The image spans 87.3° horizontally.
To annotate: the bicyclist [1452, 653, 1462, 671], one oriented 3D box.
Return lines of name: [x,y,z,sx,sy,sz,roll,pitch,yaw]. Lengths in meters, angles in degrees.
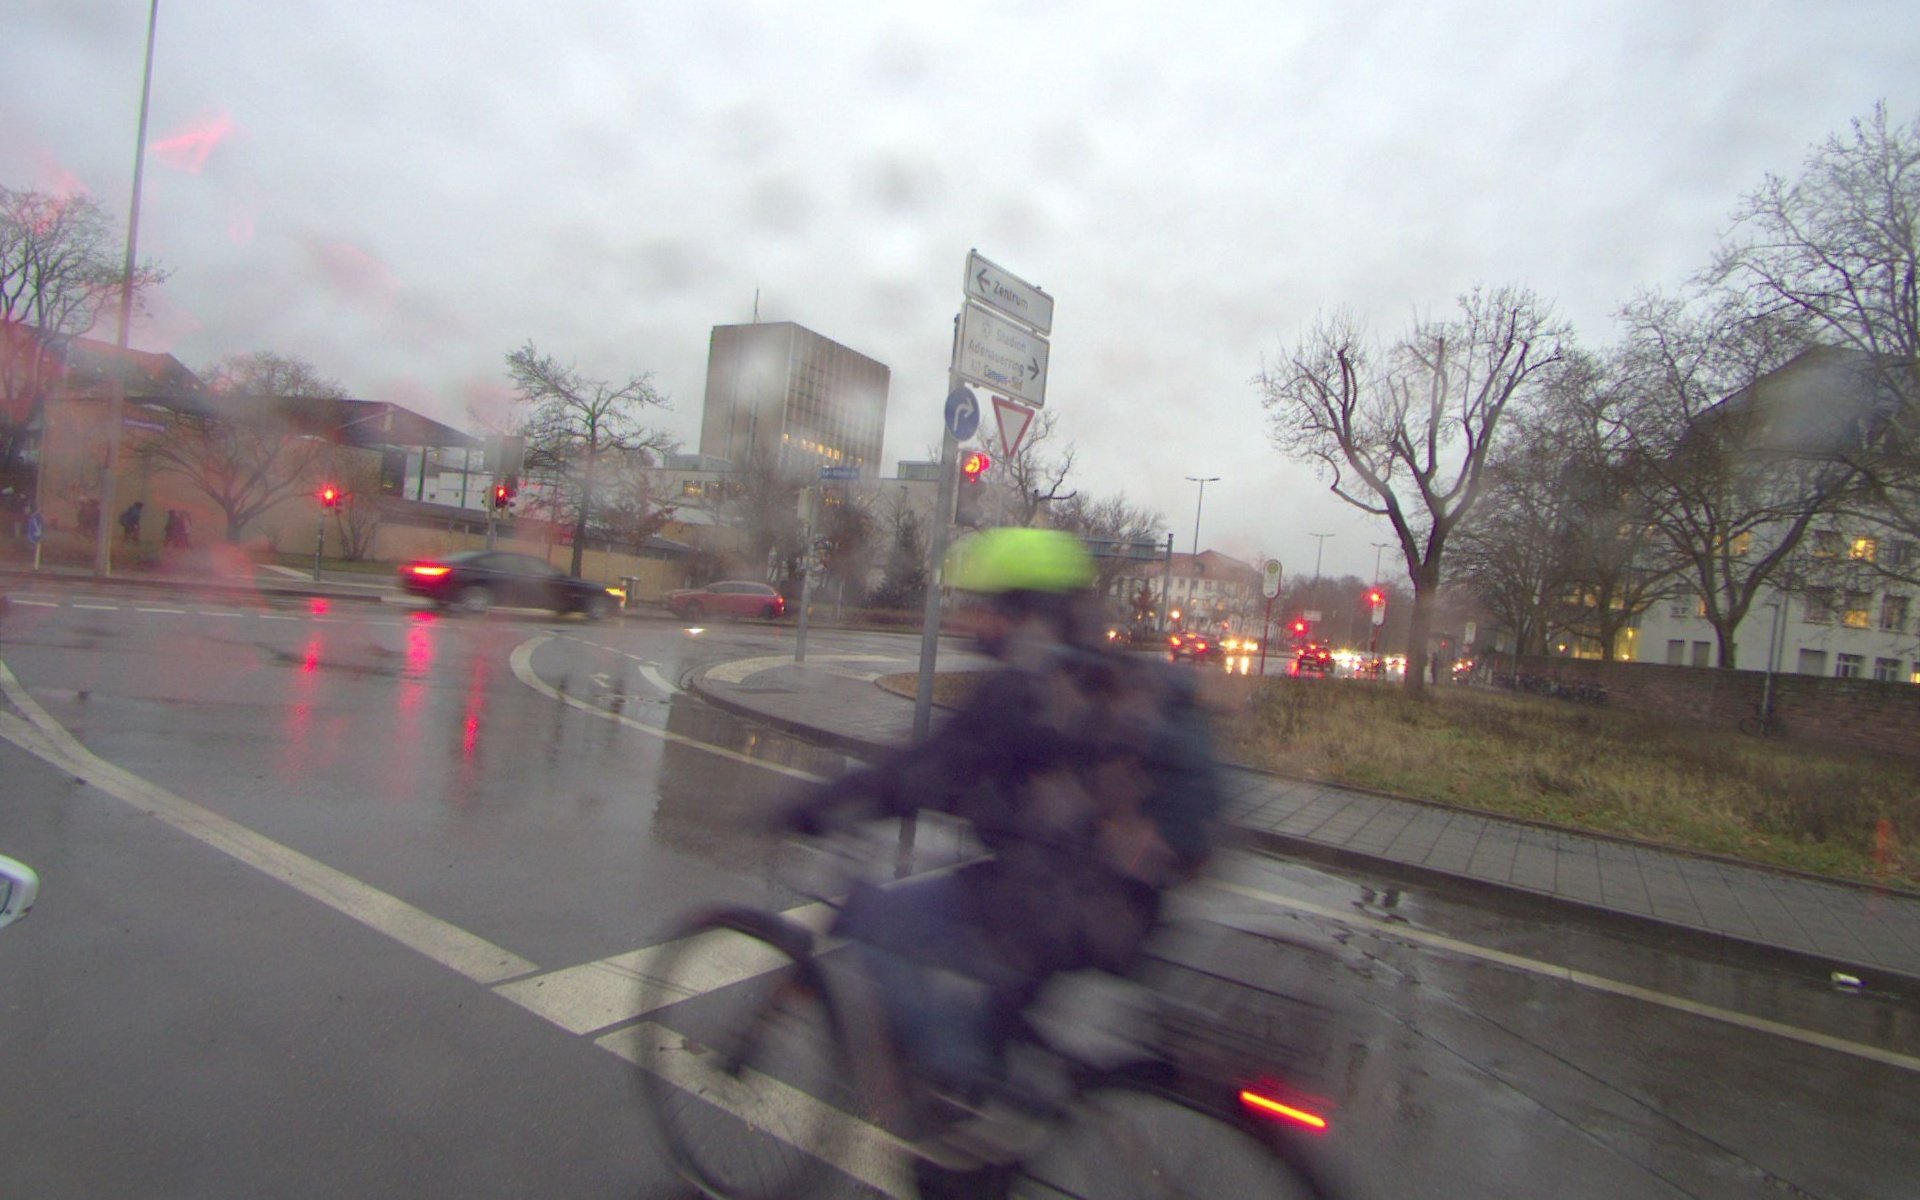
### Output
bicyclist: [48.402,6.046,97.951,0.599,1.660,0.453,7,-1,19]

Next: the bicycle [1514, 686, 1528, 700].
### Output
bicycle: [33.829,5.618,60.660,0.387,0.795,1.532,7,-2,20]

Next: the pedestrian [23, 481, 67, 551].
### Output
pedestrian: [-29.972,-2.759,32.961,0.874,2.141,0.890,8,2,44]

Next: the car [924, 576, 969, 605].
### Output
car: [-1.322,-0.982,103.204,2.014,2.452,5.326,6,0,30]

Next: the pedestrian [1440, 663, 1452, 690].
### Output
pedestrian: [30.152,4.737,62.415,0.462,1.623,0.486,7,-1,25]

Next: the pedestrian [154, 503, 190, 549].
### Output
pedestrian: [-28.452,-2.672,36.327,0.889,1.553,0.875,5,2,-41]

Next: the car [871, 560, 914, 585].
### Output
car: [-7.115,-2.912,106.433,2.014,2.102,4.892,6,0,30]

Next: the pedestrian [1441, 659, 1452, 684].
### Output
pedestrian: [40.297,5.921,83.269,0.557,2.040,0.595,8,2,33]

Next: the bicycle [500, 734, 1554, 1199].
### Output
bicycle: [0.048,0.978,2.072,1.925,1.087,0.785,6,-2,32]

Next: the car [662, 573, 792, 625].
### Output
car: [-8.404,-0.003,36.627,1.784,1.496,4.411,6,0,37]

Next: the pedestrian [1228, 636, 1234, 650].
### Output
pedestrian: [33.823,5.373,125.609,0.404,1.713,0.427,7,2,28]

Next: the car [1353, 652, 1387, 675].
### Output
car: [34.229,5.288,83.950,1.811,1.710,4.311,6,0,32]

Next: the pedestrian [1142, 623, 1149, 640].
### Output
pedestrian: [19.019,3.266,103.229,0.411,1.725,0.430,8,3,44]

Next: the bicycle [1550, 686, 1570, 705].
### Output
bicycle: [31.356,4.984,52.553,0.387,0.868,1.532,7,-2,15]

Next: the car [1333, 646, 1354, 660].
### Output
car: [53.428,7.401,140.171,1.966,1.783,3.992,7,1,29]

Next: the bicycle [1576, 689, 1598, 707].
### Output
bicycle: [30.548,4.773,48.997,0.387,0.795,1.533,7,-2,14]

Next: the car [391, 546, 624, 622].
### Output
car: [-10.738,-0.344,24.167,1.911,1.318,4.677,6,0,40]

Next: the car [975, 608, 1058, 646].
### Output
car: [2.400,1.148,42.153,1.674,1.318,3.755,6,0,34]

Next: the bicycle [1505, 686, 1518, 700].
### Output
bicycle: [34.850,5.871,63.622,0.387,0.795,1.532,7,-2,20]

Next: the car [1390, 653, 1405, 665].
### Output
car: [73.984,9.975,170.166,1.834,1.783,3.993,7,1,27]

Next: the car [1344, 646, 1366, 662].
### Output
car: [51.646,7.077,131.488,1.966,1.783,3.992,7,1,29]

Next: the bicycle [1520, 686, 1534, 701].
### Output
bicycle: [33.323,5.491,59.141,0.387,0.795,1.532,7,-2,20]

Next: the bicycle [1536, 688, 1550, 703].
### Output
bicycle: [32.412,5.294,55.949,0.387,0.795,1.607,7,-2,22]

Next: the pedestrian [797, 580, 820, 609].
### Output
pedestrian: [-9.166,-0.330,60.752,0.783,1.624,0.960,8,2,39]

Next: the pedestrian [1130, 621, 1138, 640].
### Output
pedestrian: [16.727,2.903,96.587,0.411,1.725,0.430,8,3,44]

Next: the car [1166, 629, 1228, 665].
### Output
car: [12.256,2.458,51.955,1.811,1.602,4.128,6,0,31]

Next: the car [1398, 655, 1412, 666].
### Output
car: [80.499,10.899,181.998,1.834,1.783,3.993,7,1,27]

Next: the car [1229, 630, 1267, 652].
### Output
car: [28.218,4.035,98.450,2.015,1.903,5.323,6,0,33]

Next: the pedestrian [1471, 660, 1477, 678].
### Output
pedestrian: [53.023,7.105,103.721,0.313,1.816,0.461,7,2,32]

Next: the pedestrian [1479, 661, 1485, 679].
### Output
pedestrian: [53.312,7.122,102.800,0.313,1.816,0.461,7,2,32]

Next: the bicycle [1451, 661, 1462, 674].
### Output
bicycle: [48.370,6.567,98.018,0.599,1.181,1.682,7,-2,19]

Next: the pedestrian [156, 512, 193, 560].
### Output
pedestrian: [-27.741,-2.260,35.536,0.919,1.553,1.031,5,2,-38]

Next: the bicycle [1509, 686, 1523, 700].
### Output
bicycle: [34.349,5.746,62.148,0.387,0.795,1.532,7,-2,20]

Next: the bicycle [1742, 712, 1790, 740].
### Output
bicycle: [28.201,4.403,35.222,0.387,0.834,1.386,7,-2,-4]

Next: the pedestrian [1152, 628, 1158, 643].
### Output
pedestrian: [21.973,3.999,113.579,0.409,1.725,0.432,7,2,23]

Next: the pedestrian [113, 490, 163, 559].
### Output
pedestrian: [-27.749,-2.541,33.972,0.869,2.141,0.895,7,2,23]

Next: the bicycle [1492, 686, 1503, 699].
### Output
bicycle: [36.390,6.252,68.103,0.387,0.795,1.532,7,-2,20]

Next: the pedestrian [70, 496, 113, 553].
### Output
pedestrian: [-29.856,-2.606,34.598,0.992,1.823,0.908,5,2,-41]

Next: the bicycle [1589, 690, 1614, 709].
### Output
bicycle: [30.274,4.676,47.472,0.352,0.795,1.415,7,-2,8]

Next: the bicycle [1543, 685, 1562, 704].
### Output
bicycle: [31.841,5.079,54.084,0.387,0.927,1.532,7,-2,15]

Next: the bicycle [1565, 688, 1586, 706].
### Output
bicycle: [31.038,4.880,50.741,0.343,0.848,1.493,7,-2,13]

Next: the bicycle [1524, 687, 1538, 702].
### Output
bicycle: [32.840,5.408,57.862,0.387,0.795,1.532,7,-2,19]

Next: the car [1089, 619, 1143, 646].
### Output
car: [10.699,2.225,68.879,1.783,1.496,4.413,6,0,35]

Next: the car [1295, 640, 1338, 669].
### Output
car: [25.190,3.876,71.006,1.811,1.710,4.314,6,-1,32]

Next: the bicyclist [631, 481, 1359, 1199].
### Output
bicyclist: [0.092,0.575,2.095,1.115,1.470,0.785,6,-1,32]

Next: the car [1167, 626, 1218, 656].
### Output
car: [14.511,2.551,62.619,1.810,1.602,4.128,6,0,31]
